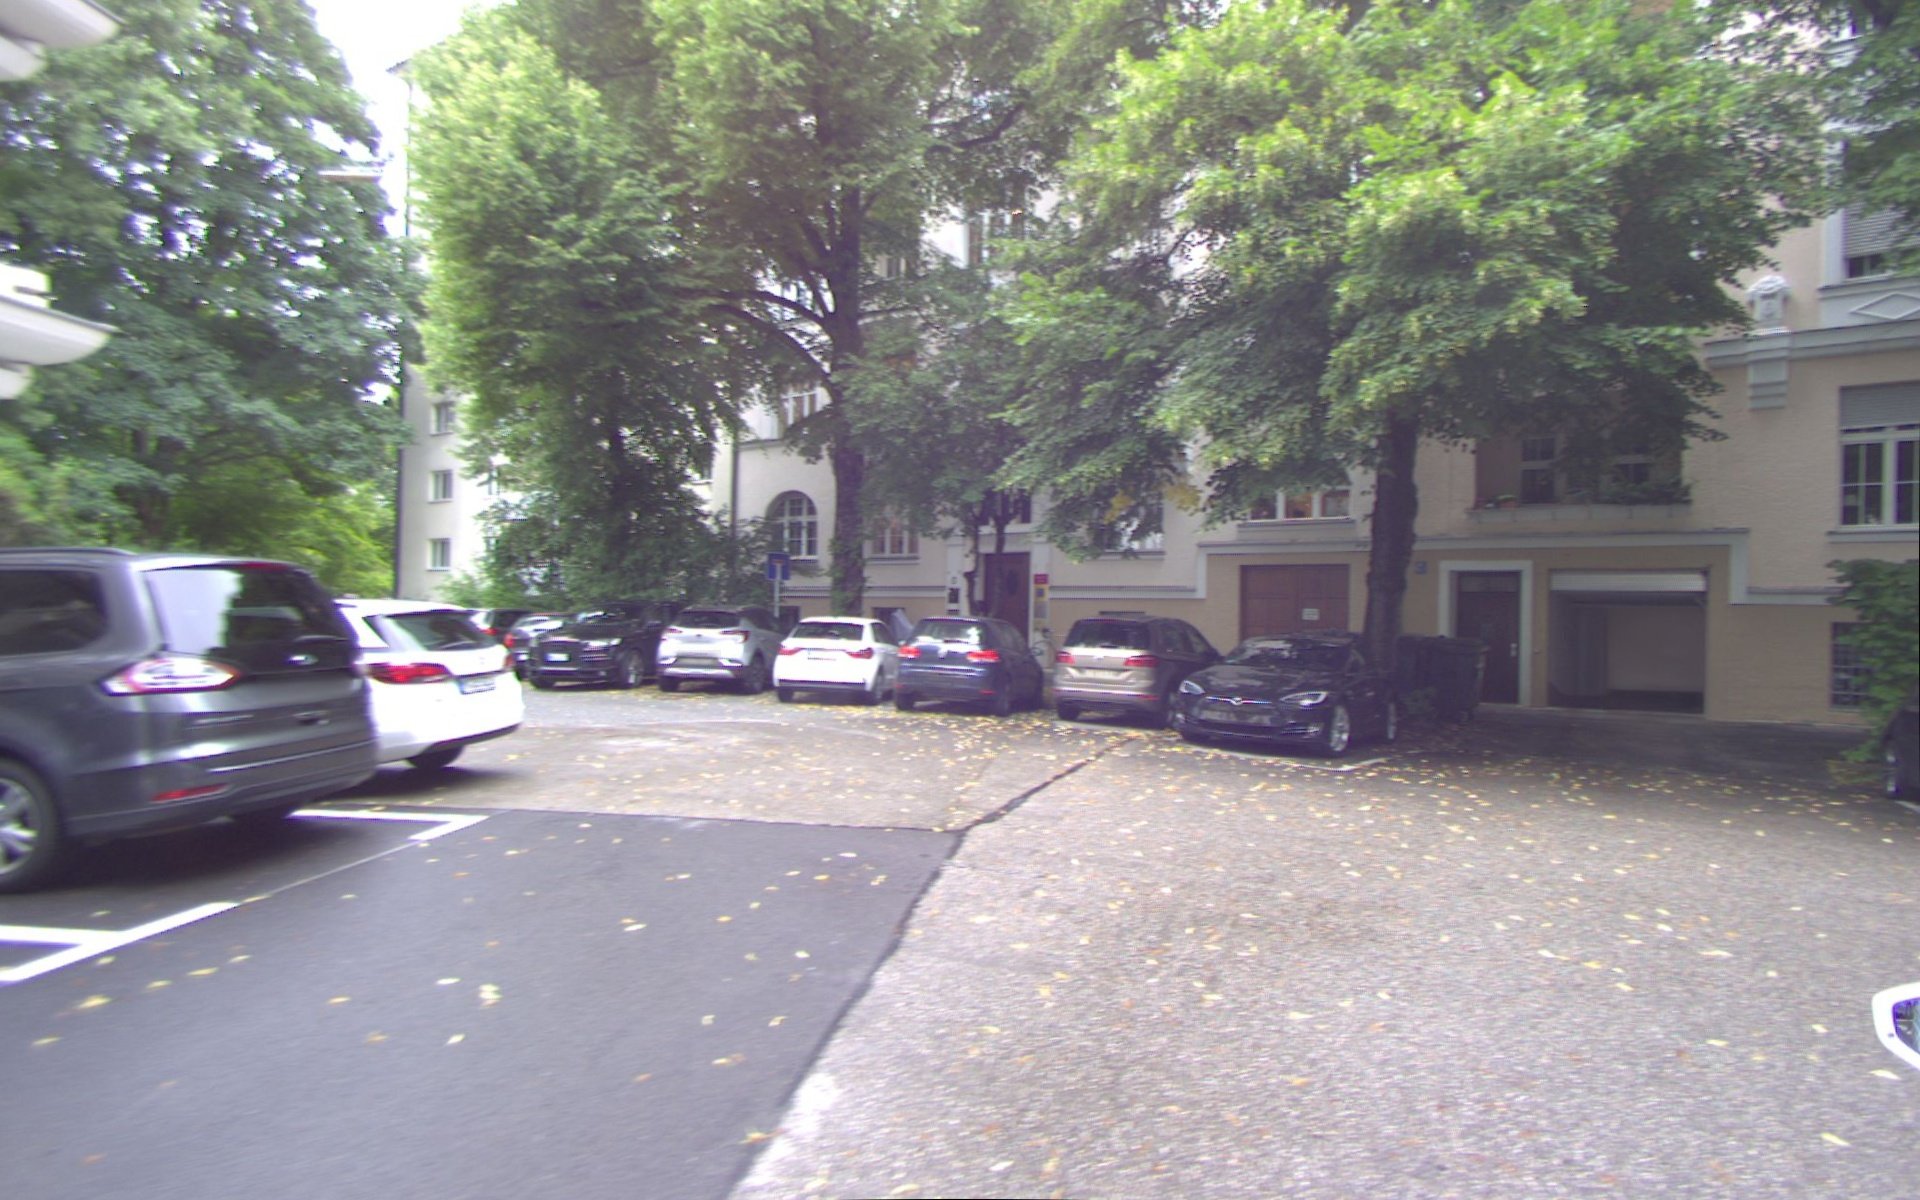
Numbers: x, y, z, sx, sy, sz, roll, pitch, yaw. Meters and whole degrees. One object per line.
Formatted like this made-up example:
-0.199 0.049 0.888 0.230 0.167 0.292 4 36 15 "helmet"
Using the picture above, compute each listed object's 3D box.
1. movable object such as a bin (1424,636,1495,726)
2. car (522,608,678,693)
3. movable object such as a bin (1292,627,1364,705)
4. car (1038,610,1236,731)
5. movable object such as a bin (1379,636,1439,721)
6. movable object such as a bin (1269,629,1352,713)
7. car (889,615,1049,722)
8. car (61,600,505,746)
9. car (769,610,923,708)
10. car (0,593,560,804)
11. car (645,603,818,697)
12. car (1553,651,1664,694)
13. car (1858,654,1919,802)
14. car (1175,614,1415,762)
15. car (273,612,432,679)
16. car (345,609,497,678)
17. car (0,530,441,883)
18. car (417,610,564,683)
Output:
8.198 1.290 16.458 0.850 1.322 1.429 4 1 31 "movable object such as a bin"
-6.808 0.897 19.466 2.025 1.420 3.994 2 -1 -8 "car"
6.972 1.230 19.028 1.101 1.366 0.862 2 0 32 "movable object such as a bin"
2.858 0.992 15.431 1.811 1.550 4.019 2 -1 28 "car"
7.728 1.311 17.263 0.703 1.365 1.369 2 0 33 "movable object such as a bin"
6.278 1.234 17.967 1.133 1.366 1.154 2 0 32 "movable object such as a bin"
0.284 1.015 16.359 1.761 1.450 4.003 2 -1 13 "car"
-7.727 0.810 11.767 3.921 1.499 1.836 -1 -1 -1 "car"
-1.855 0.951 17.612 1.689 1.450 4.003 2 -1 8 "car"
-5.652 0.762 8.311 3.919 1.499 1.836 -1 -1 4 "car"
-4.193 0.876 19.129 1.837 1.530 4.003 2 -1 8 "car"
27.299 3.031 42.410 3.787 1.539 1.654 2 0 29 "car"
9.841 1.219 8.969 1.812 1.401 4.336 1 -2 30 "car"
4.450 1.089 12.889 1.681 1.486 4.276 3 -2 36 "car"
-15.142 1.077 25.308 1.691 1.497 3.998 2 -1 -3 "car"
-13.036 1.006 24.582 1.691 1.497 3.998 2 -1 -3 "car"
-5.640 0.552 5.954 4.148 1.706 1.903 -1 -1 4 "car"
-10.818 1.013 23.468 1.691 1.497 3.998 2 -1 -3 "car"
